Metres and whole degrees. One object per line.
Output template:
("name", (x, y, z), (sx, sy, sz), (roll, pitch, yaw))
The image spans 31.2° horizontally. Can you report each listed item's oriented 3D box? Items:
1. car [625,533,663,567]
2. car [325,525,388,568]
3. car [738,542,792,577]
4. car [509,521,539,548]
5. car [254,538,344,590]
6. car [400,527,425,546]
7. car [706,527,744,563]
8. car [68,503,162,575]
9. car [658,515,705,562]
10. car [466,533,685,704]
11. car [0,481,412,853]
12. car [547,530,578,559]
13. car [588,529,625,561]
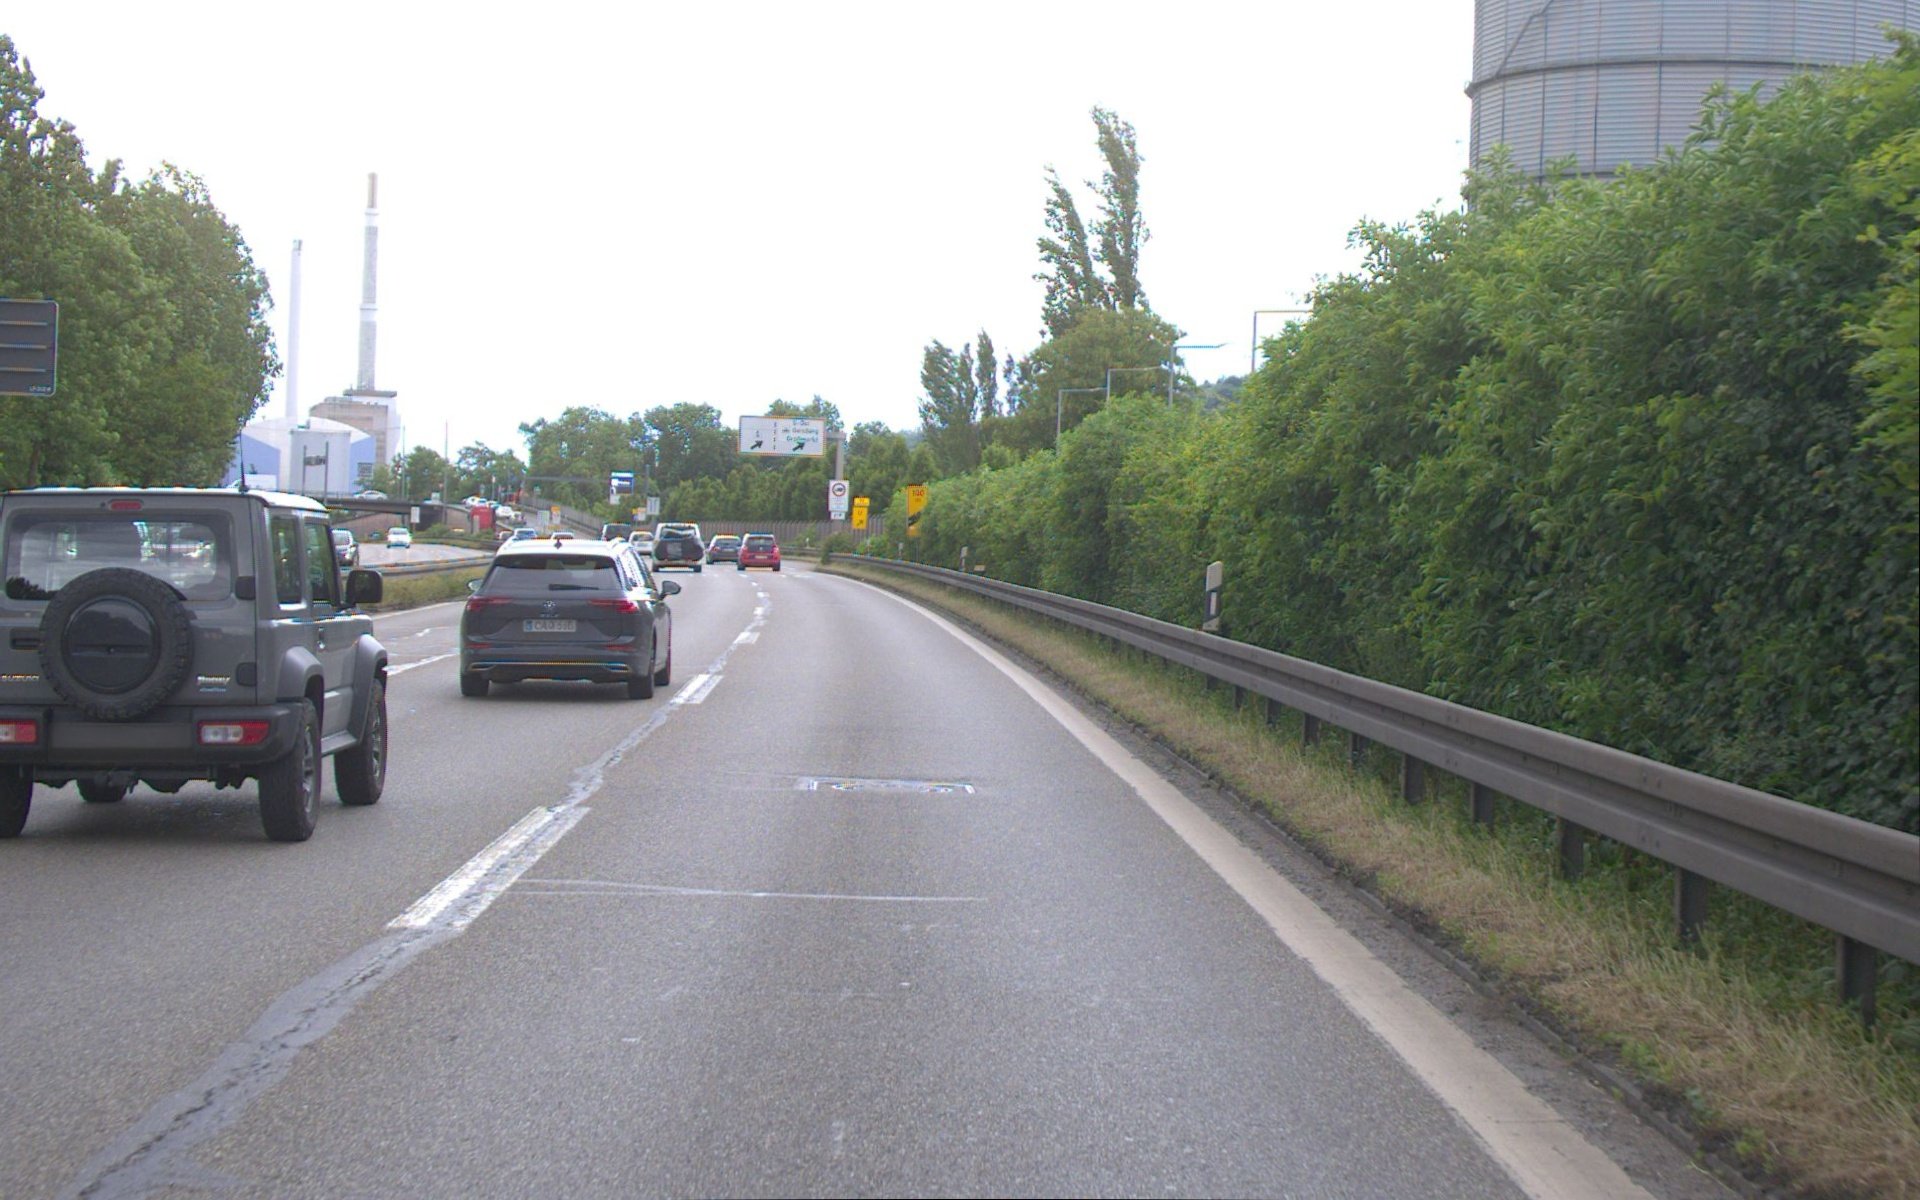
("car", (-18.384, -2.897, 199.729), (2.013, 1.927, 4.902), (1, 1, -7))
("car", (-21.061, -1.873, 120.148), (1.660, 1.419, 3.912), (1, 1, -3))
("car", (-8.195, -1.718, 143.915), (1.974, 1.418, 4.901), (1, 1, -6))
("car", (-32.699, -4.914, 257.652), (2.013, 1.927, 4.902), (1, 1, -9))
("car", (-19.833, -1.096, 103.396), (1.861, 1.460, 5.552), (1, 1, -3))
("car", (-40.890, -4.752, 256.673), (1.614, 1.381, 3.733), (2, 1, -6))
("car", (-11.595, -2.721, 169.478), (1.697, 1.736, 4.394), (1, 1, -6))
("car", (-23.017, -1.654, 93.783), (1.610, 1.877, 4.562), (1, 1, -3))
("car", (-10.689, -2.366, 131.844), (1.697, 1.736, 4.001), (1, 1, -5))
("car", (-3.627, 0.117, 32.485), (1.844, 1.418, 4.902), (2, 1, -6))
("car", (-3.891, 0.265, 17.538), (1.697, 1.680, 4.001), (0, 1, -2))
("car", (-25.076, -3.509, 216.956), (1.697, 1.736, 4.394), (1, 1, -10))
("car", (-22.549, -3.512, 219.060), (2.013, 1.927, 4.902), (1, 1, -9))
